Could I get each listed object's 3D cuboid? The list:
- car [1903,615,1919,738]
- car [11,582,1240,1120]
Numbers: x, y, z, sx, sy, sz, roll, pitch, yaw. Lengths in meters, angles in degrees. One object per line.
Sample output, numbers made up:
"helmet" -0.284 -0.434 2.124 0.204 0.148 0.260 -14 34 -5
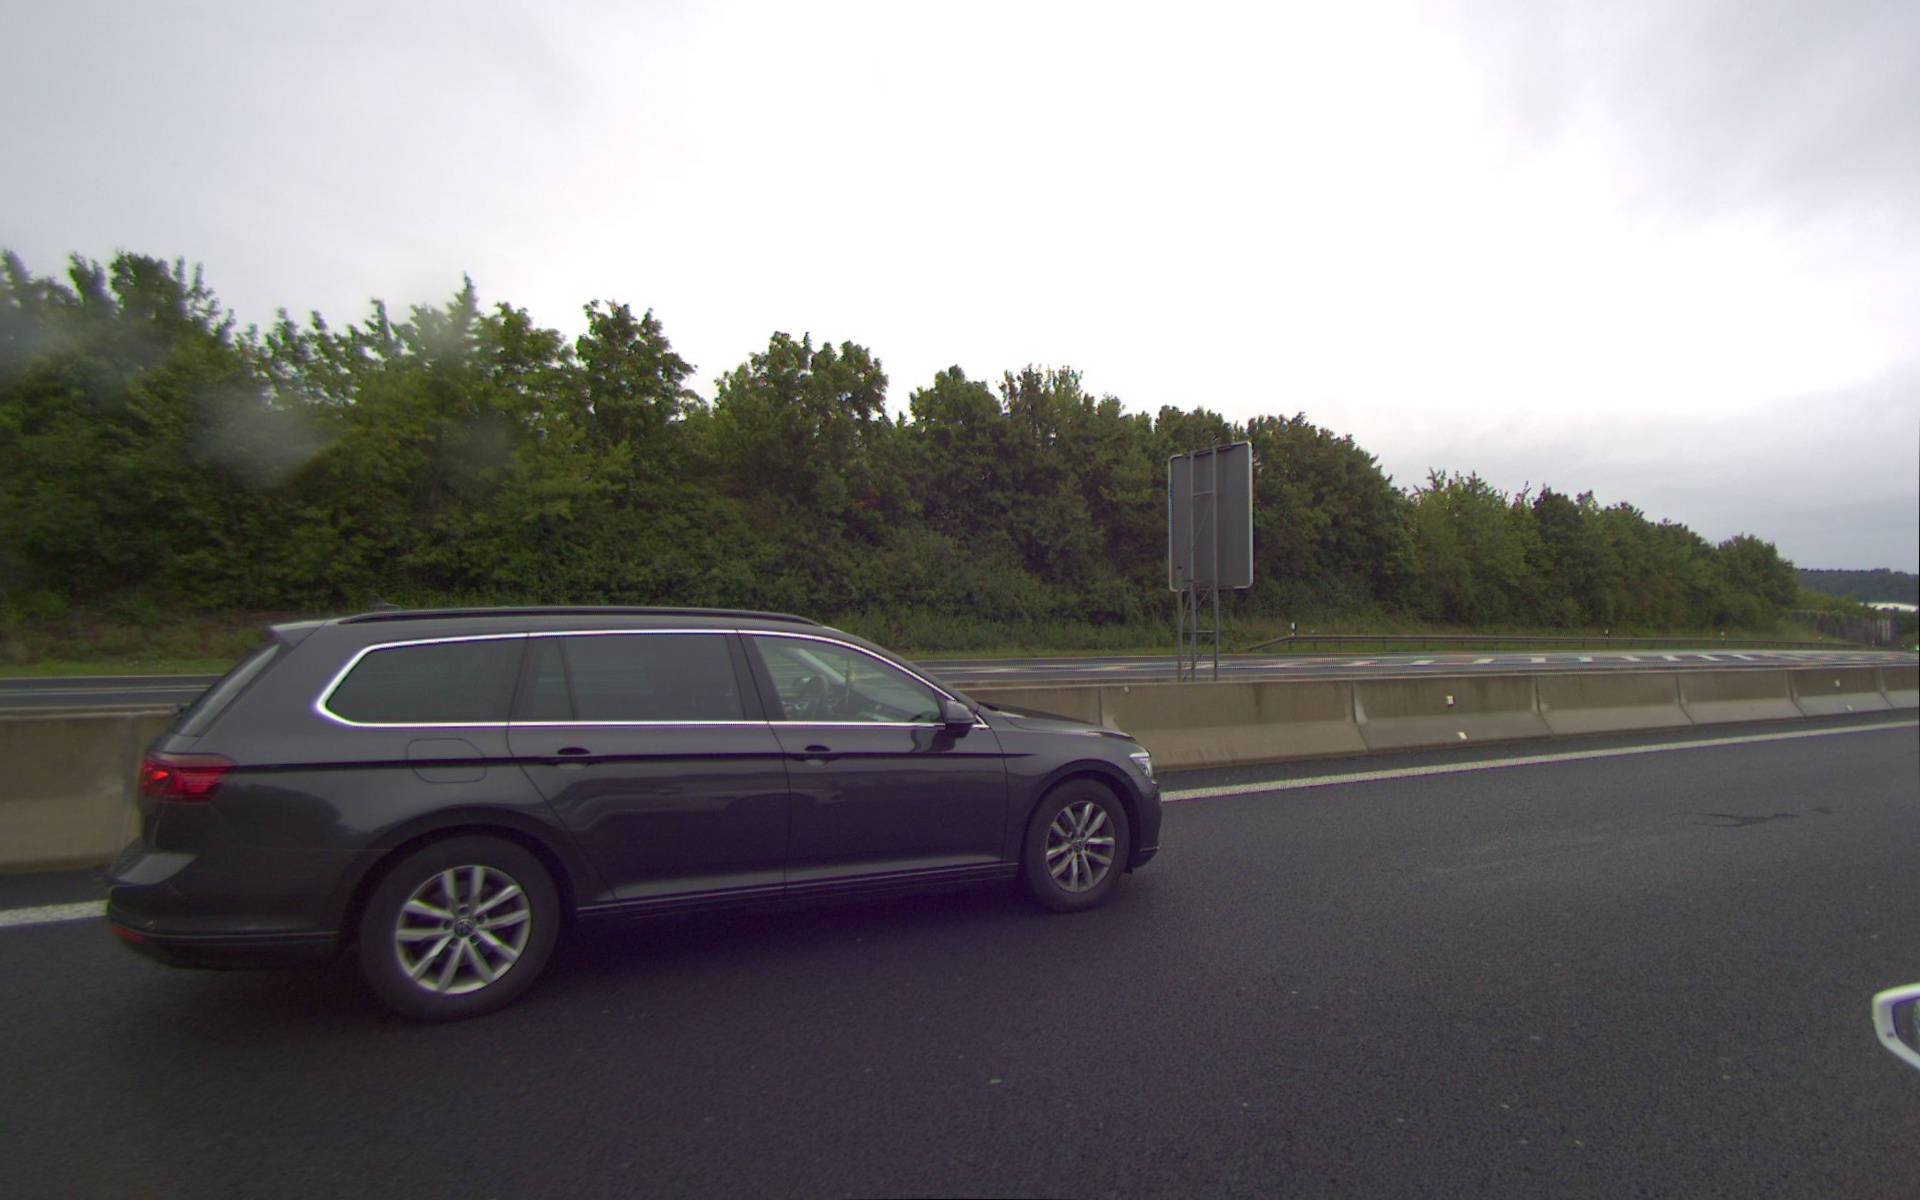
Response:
"car" 15.359 1.090 14.099 4.449 1.661 1.966 2 -1 -31
"car" -1.064 0.761 4.879 4.795 1.517 1.891 1 -1 -30
